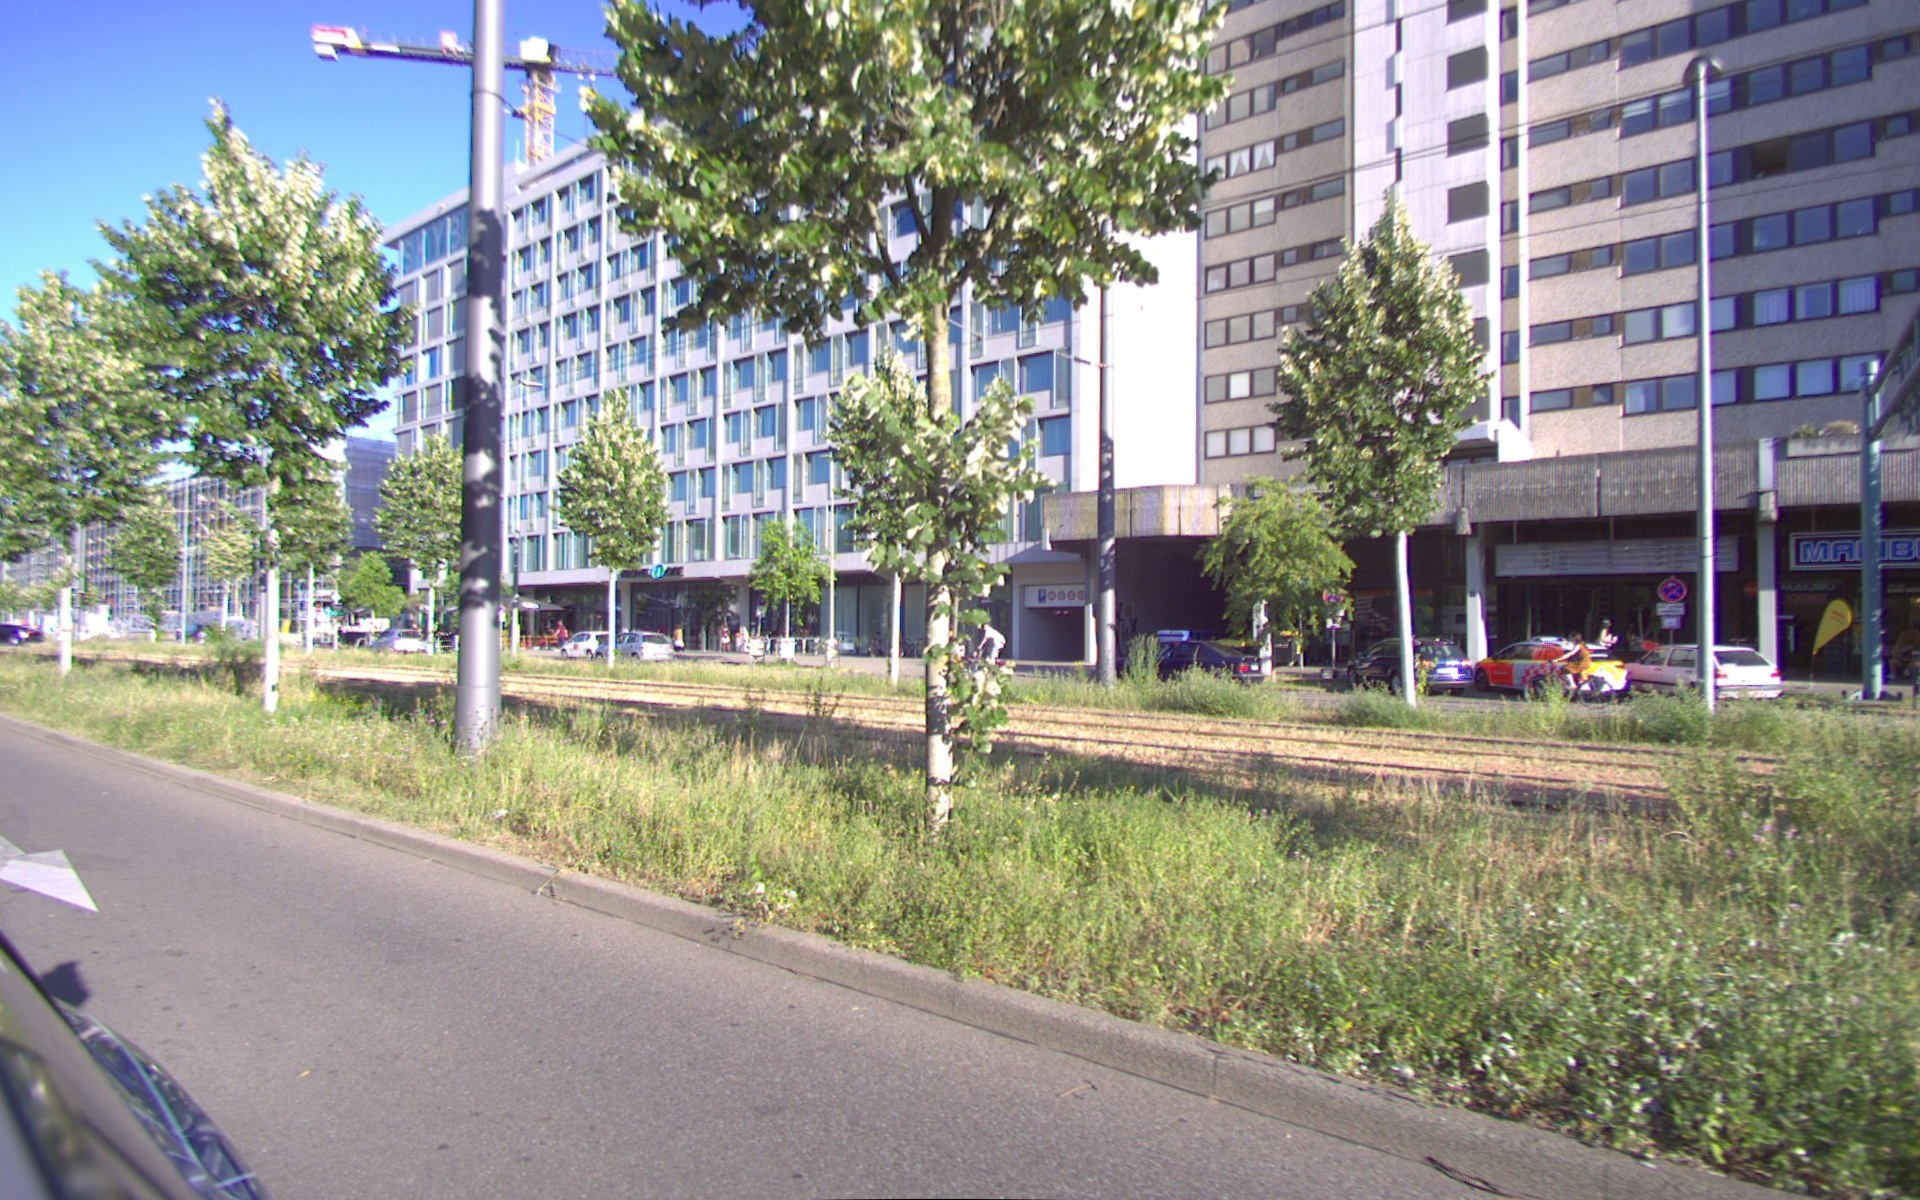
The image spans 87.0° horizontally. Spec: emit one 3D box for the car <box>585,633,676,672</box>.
[{"bbox_3d":[-13.298,2.080,40.766,3.873,1.388,1.594,-1,0,38],"label":"car"}]

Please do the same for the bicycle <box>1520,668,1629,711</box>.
[{"bbox_3d":[14.006,2.028,23.096,2.098,0.869,0.432,-1,-2,36],"label":"bicycle"}]

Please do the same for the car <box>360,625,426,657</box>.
[{"bbox_3d":[-30.175,2.151,53.876,3.477,1.603,1.852,-1,0,38],"label":"car"}]

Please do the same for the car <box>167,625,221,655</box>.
[{"bbox_3d":[-49.454,2.552,65.360,3.787,1.765,1.852,-1,0,38],"label":"car"}]

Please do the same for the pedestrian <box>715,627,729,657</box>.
[{"bbox_3d":[-13.056,2.286,55.436,0.596,1.648,0.473,-1,-3,38],"label":"pedestrian"}]

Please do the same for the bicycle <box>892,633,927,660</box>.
[{"bbox_3d":[-2.387,2.193,48.036,1.712,1.239,0.391,-1,-2,28],"label":"bicycle"}]

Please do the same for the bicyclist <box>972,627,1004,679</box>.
[{"bbox_3d":[0.917,1.727,33.200,0.917,1.669,0.533,-1,-2,36],"label":"bicyclist"}]

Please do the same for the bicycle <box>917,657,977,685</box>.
[{"bbox_3d":[-0.439,2.289,32.781,2.098,0.869,0.432,-1,-2,36],"label":"bicycle"}]

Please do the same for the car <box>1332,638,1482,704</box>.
[{"bbox_3d":[12.223,1.891,28.033,1.595,1.455,4.555,-1,0,-8],"label":"car"}]

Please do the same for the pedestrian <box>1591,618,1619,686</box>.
[{"bbox_3d":[19.535,1.554,30.649,0.653,2.029,0.542,-1,-2,37],"label":"pedestrian"}]

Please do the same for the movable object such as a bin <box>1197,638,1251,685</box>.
[{"bbox_3d":[7.965,1.832,30.516,1.169,1.382,1.373,-1,-2,36],"label":"movable object such as a bin"}]

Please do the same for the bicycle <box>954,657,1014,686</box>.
[{"bbox_3d":[0.767,2.349,33.312,2.098,0.869,0.432,-1,-2,36],"label":"bicycle"}]

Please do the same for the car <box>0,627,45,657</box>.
[{"bbox_3d":[-61.041,2.681,64.458,3.727,1.765,1.882,-1,0,-26],"label":"car"}]

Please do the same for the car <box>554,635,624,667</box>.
[{"bbox_3d":[-18.880,2.565,51.500,3.384,1.477,1.852,-1,0,38],"label":"car"}]

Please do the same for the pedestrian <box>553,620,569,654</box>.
[{"bbox_3d":[-24.475,2.261,62.132,0.725,2.029,0.614,-1,-3,38],"label":"pedestrian"}]

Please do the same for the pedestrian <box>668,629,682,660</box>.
[{"bbox_3d":[-15.067,2.349,53.502,0.596,1.648,0.473,-1,-3,38],"label":"pedestrian"}]

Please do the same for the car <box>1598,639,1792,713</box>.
[{"bbox_3d":[17.485,1.757,24.306,1.596,1.455,3.798,-1,0,-6],"label":"car"}]

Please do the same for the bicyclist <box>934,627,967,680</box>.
[{"bbox_3d":[-0.313,1.715,32.765,0.917,1.669,0.533,-1,-2,36],"label":"bicyclist"}]

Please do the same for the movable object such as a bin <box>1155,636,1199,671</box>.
[{"bbox_3d":[8.548,2.079,39.814,1.231,1.344,1.373,-1,-2,36],"label":"movable object such as a bin"}]

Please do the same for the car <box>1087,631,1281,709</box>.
[{"bbox_3d":[5.639,1.703,25.786,4.481,1.715,1.852,-1,0,38],"label":"car"}]

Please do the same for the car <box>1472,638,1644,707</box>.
[{"bbox_3d":[15.138,1.787,25.857,1.761,1.455,3.808,-1,0,-8],"label":"car"}]

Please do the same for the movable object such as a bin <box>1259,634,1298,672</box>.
[{"bbox_3d":[11.687,1.929,37.136,1.088,1.382,1.108,-1,-2,36],"label":"movable object such as a bin"}]

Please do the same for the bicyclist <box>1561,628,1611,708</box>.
[{"bbox_3d":[14.175,1.525,22.916,0.917,1.758,0.552,-1,-2,36],"label":"bicyclist"}]
